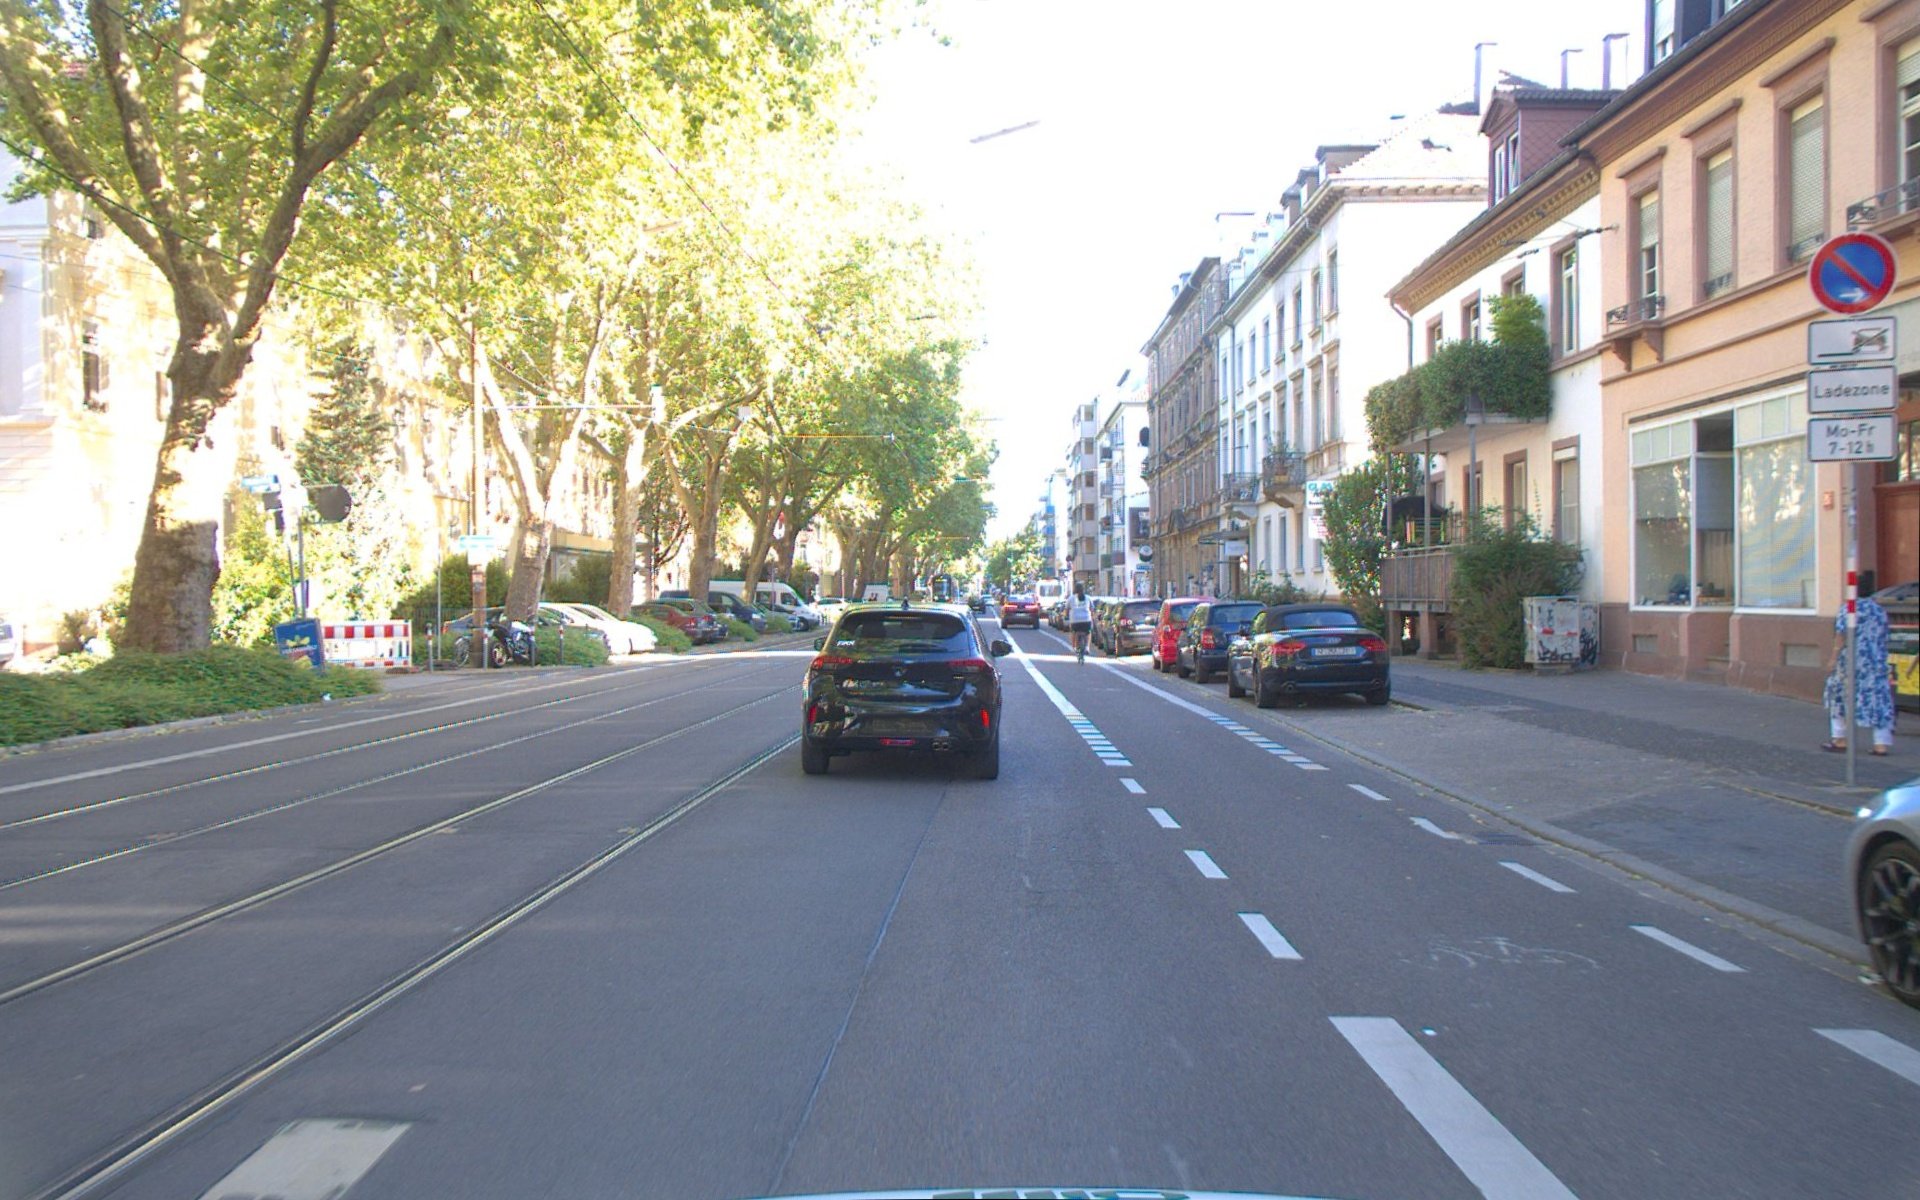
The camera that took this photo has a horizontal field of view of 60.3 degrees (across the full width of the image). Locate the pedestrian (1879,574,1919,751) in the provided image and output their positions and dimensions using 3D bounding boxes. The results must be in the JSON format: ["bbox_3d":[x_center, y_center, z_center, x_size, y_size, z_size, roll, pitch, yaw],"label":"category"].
[{"bbox_3d":[8.490,0.530,14.296,0.644,1.509,0.785,0,0,0],"label":"pedestrian"}]

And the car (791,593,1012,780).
[{"bbox_3d":[-0.444,0.682,14.926,1.757,1.466,3.531,0,1,1],"label":"car"}]

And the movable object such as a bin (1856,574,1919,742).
[{"bbox_3d":[9.480,0.536,15.696,1.266,1.547,1.286,0,0,1],"label":"movable object such as a bin"}]

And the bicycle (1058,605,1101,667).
[{"bbox_3d":[2.868,0.846,39.869,0.843,1.432,2.524,0,0,0],"label":"bicycle"}]

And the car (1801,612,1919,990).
[{"bbox_3d":[4.601,0.758,4.970,1.772,1.460,4.665,-2,0,0],"label":"car"}]

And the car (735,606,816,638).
[{"bbox_3d":[-9.353,1.126,84.028,3.839,1.524,1.677,1,-1,1],"label":"car"}]

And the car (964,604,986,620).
[{"bbox_3d":[1.301,1.017,139.574,1.772,1.362,3.934,0,0,2],"label":"car"}]

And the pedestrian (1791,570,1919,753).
[{"bbox_3d":[7.805,0.523,14.413,0.646,1.531,0.866,-1,0,0],"label":"pedestrian"}]

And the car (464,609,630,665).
[{"bbox_3d":[-10.772,0.958,43.317,3.839,1.355,1.848,1,-1,1],"label":"car"}]

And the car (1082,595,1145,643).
[{"bbox_3d":[5.220,0.633,56.736,1.841,1.481,4.026,-4,0,2],"label":"car"}]

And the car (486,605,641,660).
[{"bbox_3d":[-10.962,0.895,45.900,3.840,1.478,1.800,0,-1,0],"label":"car"}]

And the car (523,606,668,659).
[{"bbox_3d":[-10.699,0.938,48.697,3.839,1.488,1.806,-1,-1,1],"label":"car"}]

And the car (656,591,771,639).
[{"bbox_3d":[-10.594,0.654,71.243,4.578,1.957,1.980,1,-1,2],"label":"car"}]

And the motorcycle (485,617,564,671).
[{"bbox_3d":[-9.868,0.985,37.601,0.865,1.167,2.392,0,0,9],"label":"motorcycle"}]

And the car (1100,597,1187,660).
[{"bbox_3d":[5.200,0.805,47.334,1.843,1.613,3.931,-4,0,-2],"label":"car"}]

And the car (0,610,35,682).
[{"bbox_3d":[-22.013,1.028,35.141,3.698,1.443,1.695,-1,3,1],"label":"car"}]

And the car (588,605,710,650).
[{"bbox_3d":[-10.751,0.946,57.278,3.839,1.467,1.749,1,-1,1],"label":"car"}]

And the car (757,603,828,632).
[{"bbox_3d":[-9.419,0.972,93.049,3.841,1.524,1.676,1,-1,-2],"label":"car"}]

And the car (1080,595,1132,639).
[{"bbox_3d":[5.509,0.645,62.857,1.675,1.509,3.765,-4,0,2],"label":"car"}]

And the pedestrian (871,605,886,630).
[{"bbox_3d":[-5.198,1.129,105.210,0.758,1.594,0.674,0,-1,-30],"label":"pedestrian"}]

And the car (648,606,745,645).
[{"bbox_3d":[-10.872,1.052,68.404,3.657,1.524,1.746,1,-1,1],"label":"car"}]

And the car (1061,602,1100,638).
[{"bbox_3d":[5.554,0.909,76.446,1.669,1.481,3.699,-4,0,4],"label":"car"}]

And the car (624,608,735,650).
[{"bbox_3d":[-10.466,1.076,61.899,3.840,1.446,1.818,1,-1,-1],"label":"car"}]

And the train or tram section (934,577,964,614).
[{"bbox_3d":[-1.115,-0.416,176.615,2.678,3.746,12.719,-1,0,2],"label":"train or tram section"}]

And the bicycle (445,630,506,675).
[{"bbox_3d":[-10.965,1.168,37.480,0.529,0.957,2.035,0,0,9],"label":"bicycle"}]

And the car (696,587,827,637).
[{"bbox_3d":[-10.325,0.615,86.430,6.491,2.451,2.458,1,-1,1],"label":"car"}]

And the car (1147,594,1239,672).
[{"bbox_3d":[5.024,0.692,36.055,1.600,1.574,3.577,-2,0,2],"label":"car"}]

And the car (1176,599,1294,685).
[{"bbox_3d":[5.110,0.751,31.177,1.617,1.482,3.869,-2,0,1],"label":"car"}]

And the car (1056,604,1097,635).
[{"bbox_3d":[5.677,0.946,80.749,1.772,1.361,3.934,-4,0,2],"label":"car"}]

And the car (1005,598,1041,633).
[{"bbox_3d":[3.234,0.794,85.080,1.772,1.773,3.934,-1,0,2],"label":"car"}]

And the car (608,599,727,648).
[{"bbox_3d":[-10.493,0.845,59.496,3.912,1.655,1.879,1,-1,1],"label":"car"}]

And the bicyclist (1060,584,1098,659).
[{"bbox_3d":[2.853,0.514,39.885,0.830,1.771,1.162,0,0,0],"label":"bicyclist"}]

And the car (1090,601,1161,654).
[{"bbox_3d":[5.152,0.829,51.878,1.762,1.481,3.768,-4,0,0],"label":"car"}]

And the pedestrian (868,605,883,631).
[{"bbox_3d":[-5.315,1.126,104.402,0.758,1.594,0.674,0,-1,-30],"label":"pedestrian"}]

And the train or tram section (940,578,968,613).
[{"bbox_3d":[-0.640,-0.455,189.289,2.678,3.746,12.719,-1,0,2],"label":"train or tram section"}]

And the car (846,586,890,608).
[{"bbox_3d":[-8.190,-0.277,147.825,3.841,1.821,1.676,1,-1,-2],"label":"car"}]

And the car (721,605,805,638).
[{"bbox_3d":[-9.597,1.068,80.806,3.838,1.524,1.677,1,-1,2],"label":"car"}]

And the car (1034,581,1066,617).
[{"bbox_3d":[6.187,-0.073,114.050,2.033,2.257,4.934,-4,0,2],"label":"car"}]

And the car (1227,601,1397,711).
[{"bbox_3d":[5.035,0.750,24.214,1.658,1.417,4.495,-2,0,2],"label":"car"}]

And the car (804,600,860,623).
[{"bbox_3d":[-9.101,0.805,117.472,3.841,1.524,1.676,1,-1,-2],"label":"car"}]
